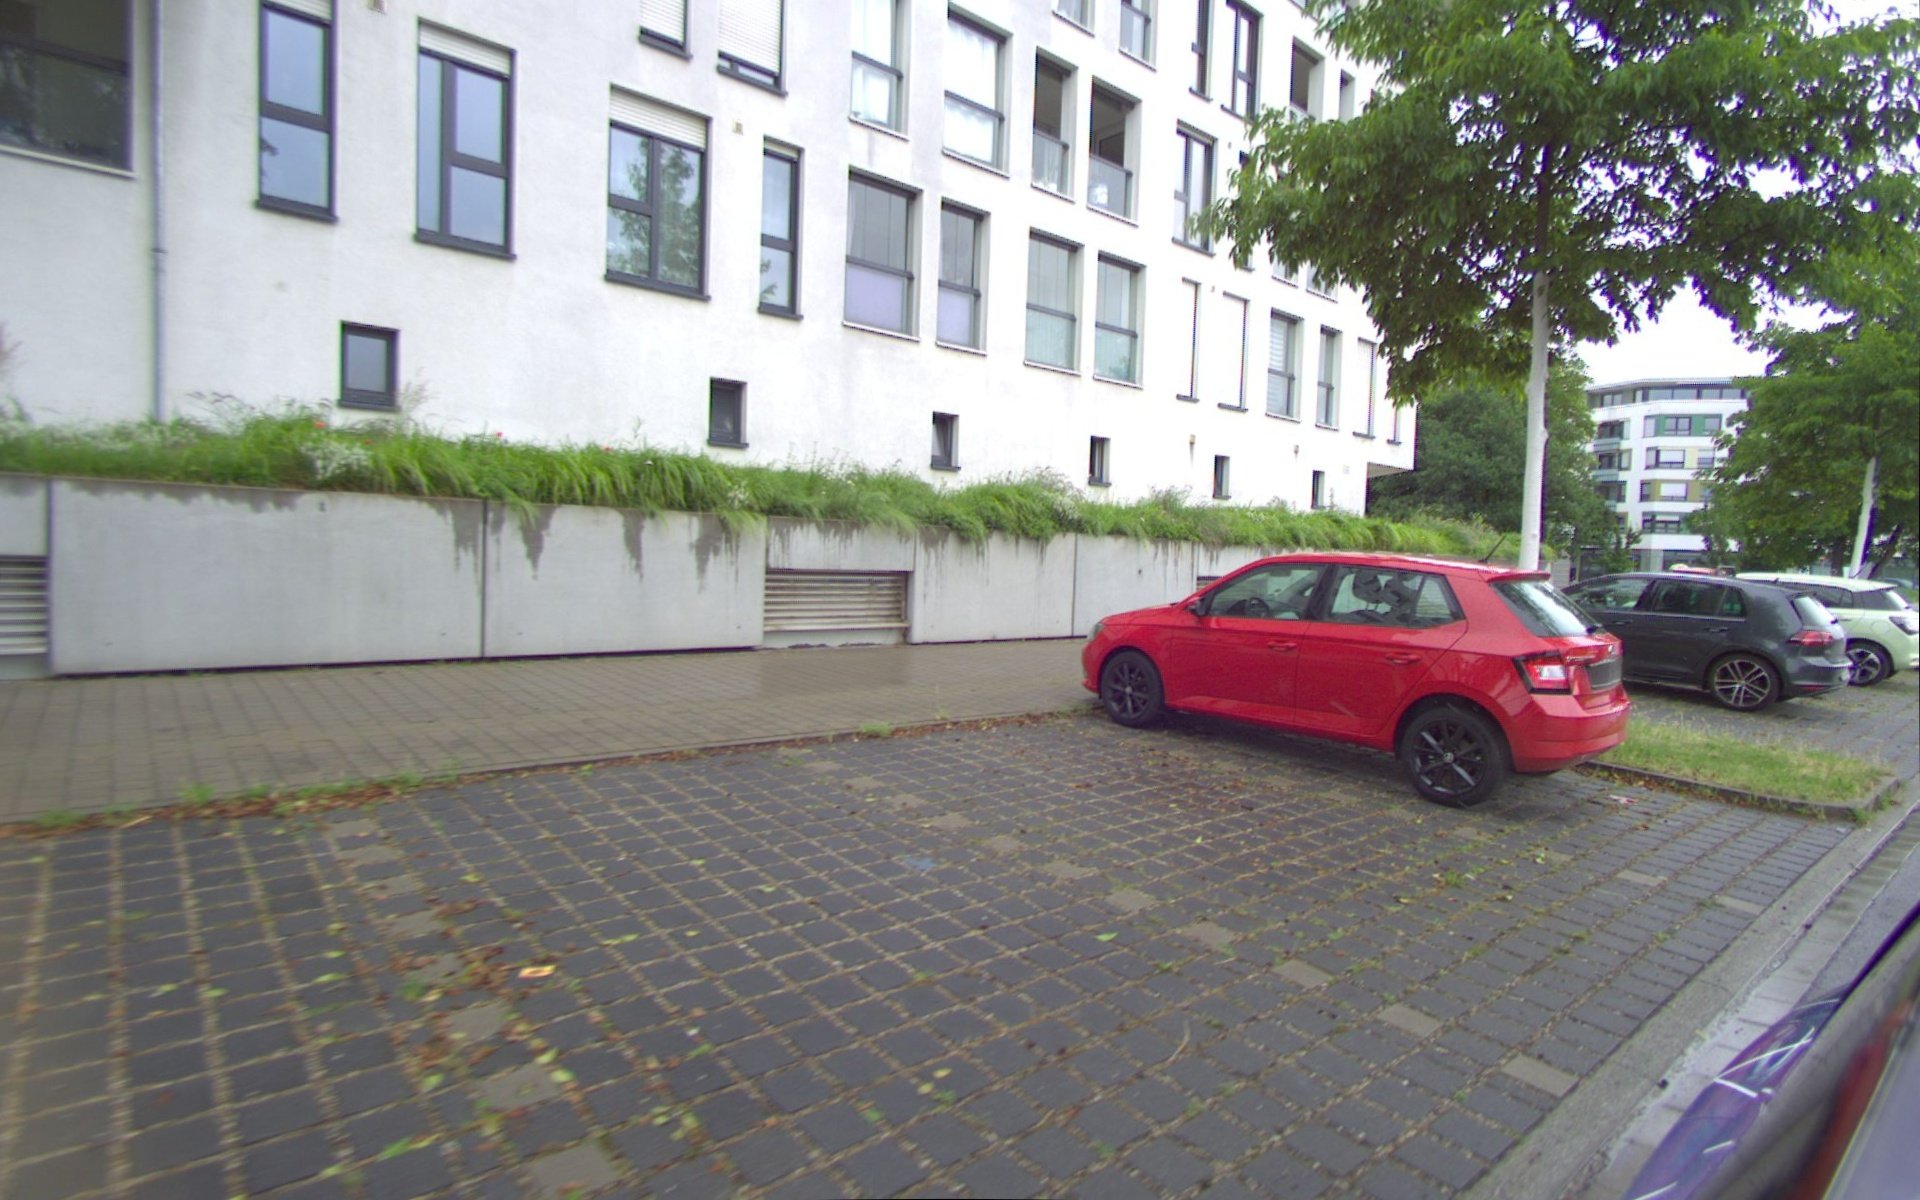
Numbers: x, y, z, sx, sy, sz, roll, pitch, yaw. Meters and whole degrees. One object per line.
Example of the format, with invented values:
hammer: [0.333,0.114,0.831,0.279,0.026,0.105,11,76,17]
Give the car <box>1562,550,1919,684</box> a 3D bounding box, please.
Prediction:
car: [12.203,0.141,15.733,1.662,1.498,4.501,-1,6,-40]

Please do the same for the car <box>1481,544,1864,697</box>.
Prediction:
car: [9.755,0.157,14.141,1.606,1.573,3.999,0,7,-40]

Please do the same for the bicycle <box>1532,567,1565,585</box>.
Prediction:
bicycle: [39.454,-1.649,67.853,0.712,1.100,2.485,2,3,0]

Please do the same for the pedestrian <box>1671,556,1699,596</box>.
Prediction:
pedestrian: [38.089,-1.271,53.158,0.611,2.038,0.968,0,3,-40]

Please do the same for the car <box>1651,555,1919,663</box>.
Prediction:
car: [15.592,0.111,18.428,1.794,1.514,4.583,-1,6,-41]

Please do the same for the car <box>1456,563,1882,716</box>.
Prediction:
car: [8.393,0.341,12.262,1.565,1.492,3.963,-1,3,-42]

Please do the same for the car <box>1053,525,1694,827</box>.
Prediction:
car: [2.779,0.281,7.558,1.789,1.468,3.998,-2,7,-41]
